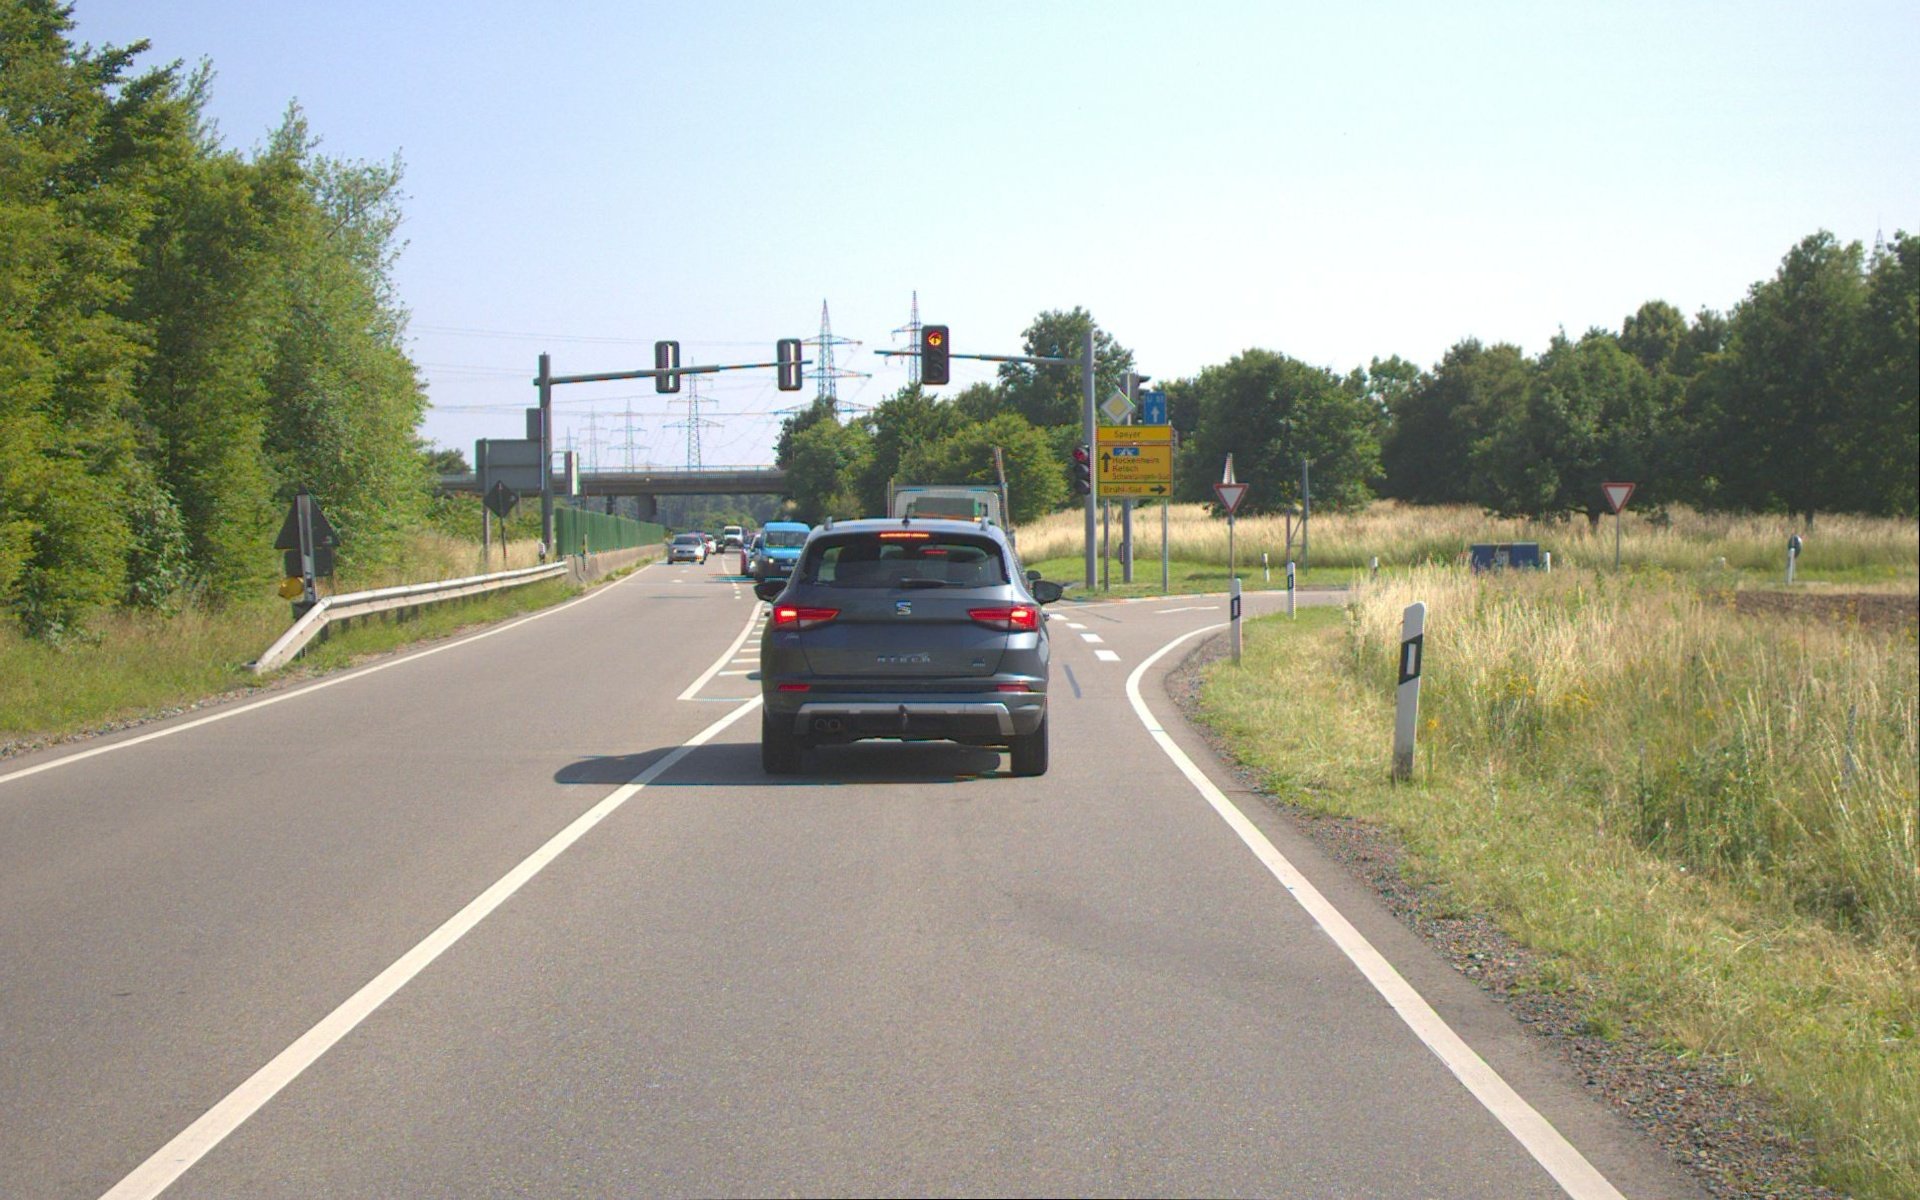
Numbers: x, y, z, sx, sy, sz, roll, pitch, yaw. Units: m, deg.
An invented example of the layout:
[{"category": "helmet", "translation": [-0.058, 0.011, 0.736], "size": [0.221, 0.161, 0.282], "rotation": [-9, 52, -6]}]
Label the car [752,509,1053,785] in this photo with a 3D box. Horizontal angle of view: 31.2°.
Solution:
[{"category": "car", "translation": [-0.388, 0.228, 22.463], "size": [1.785, 1.623, 4.001], "rotation": [0, 2, -1]}]

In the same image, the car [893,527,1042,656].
[{"category": "car", "translation": [0.055, -0.145, 44.069], "size": [1.785, 1.538, 4.001], "rotation": [0, 2, -1]}]

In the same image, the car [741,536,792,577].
[{"category": "car", "translation": [-6.781, -1.544, 120.250], "size": [1.684, 1.375, 3.534], "rotation": [0, 2, -4]}]

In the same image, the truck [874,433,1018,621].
[{"category": "truck", "translation": [-0.235, -1.232, 59.011], "size": [2.337, 3.055, 5.810], "rotation": [0, 1, 0]}]

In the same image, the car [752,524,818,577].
[{"category": "car", "translation": [-5.265, -1.504, 103.156], "size": [1.816, 1.535, 4.001], "rotation": [-1, 1, -5]}]

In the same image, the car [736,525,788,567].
[{"category": "car", "translation": [-6.641, -1.816, 115.193], "size": [1.684, 1.375, 3.534], "rotation": [0, 2, -4]}]

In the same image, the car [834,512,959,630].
[{"category": "car", "translation": [-0.959, -0.465, 51.333], "size": [1.785, 1.670, 4.001], "rotation": [0, 2, -1]}]

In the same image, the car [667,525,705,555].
[{"category": "car", "translation": [-13.458, -2.960, 168.688], "size": [1.824, 1.426, 4.001], "rotation": [-1, 1, -5]}]
